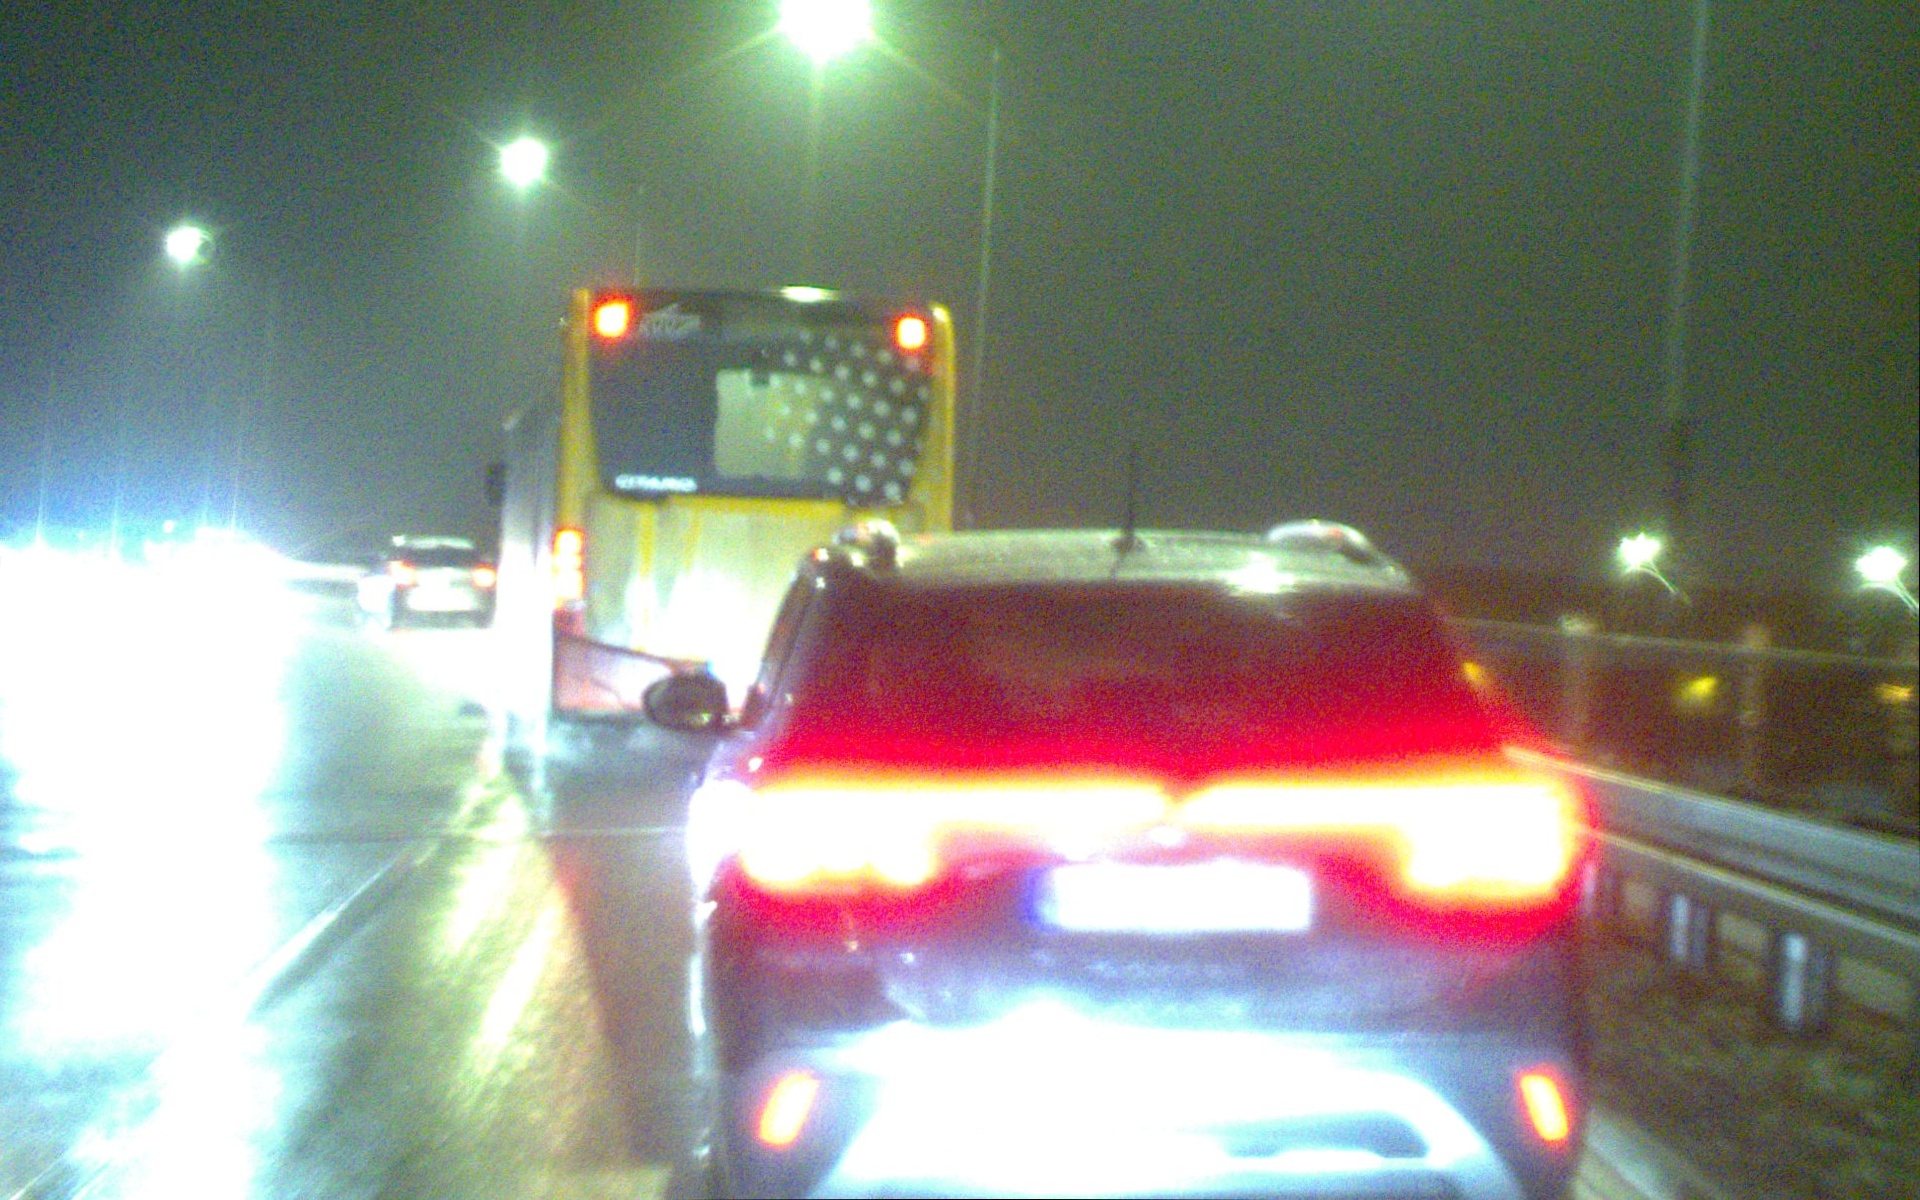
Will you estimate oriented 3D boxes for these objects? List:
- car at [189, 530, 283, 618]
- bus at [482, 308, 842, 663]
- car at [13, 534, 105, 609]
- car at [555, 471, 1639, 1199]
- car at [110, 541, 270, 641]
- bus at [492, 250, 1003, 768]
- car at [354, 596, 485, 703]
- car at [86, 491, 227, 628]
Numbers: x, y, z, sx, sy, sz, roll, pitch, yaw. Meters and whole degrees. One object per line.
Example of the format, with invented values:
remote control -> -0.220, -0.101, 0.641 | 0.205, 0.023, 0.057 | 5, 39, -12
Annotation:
car -> -15.215, -0.562, 72.139 | 1.306, 1.653, 3.193 | 7, -1, -20
bus -> -3.469, -1.279, 37.743 | 3.048, 3.121, 8.081 | 7, 1, -9
car -> -18.084, -0.589, 69.021 | 1.682, 1.386, 4.452 | 2, 0, -15
car -> 0.064, 0.574, 7.959 | 1.855, 1.581, 4.001 | 2, 1, -5
car -> -12.025, -0.164, 53.505 | 1.895, 1.434, 4.064 | 1, 1, -20
bus -> -2.135, -0.732, 27.487 | 3.082, 3.122, 12.700 | 1, 2, -8
car -> -8.948, 0.785, 56.733 | 1.635, 1.650, 3.711 | 0, 1, -17
car -> -9.958, -0.534, 42.742 | 1.470, 1.579, 3.192 | 1, 2, -9
